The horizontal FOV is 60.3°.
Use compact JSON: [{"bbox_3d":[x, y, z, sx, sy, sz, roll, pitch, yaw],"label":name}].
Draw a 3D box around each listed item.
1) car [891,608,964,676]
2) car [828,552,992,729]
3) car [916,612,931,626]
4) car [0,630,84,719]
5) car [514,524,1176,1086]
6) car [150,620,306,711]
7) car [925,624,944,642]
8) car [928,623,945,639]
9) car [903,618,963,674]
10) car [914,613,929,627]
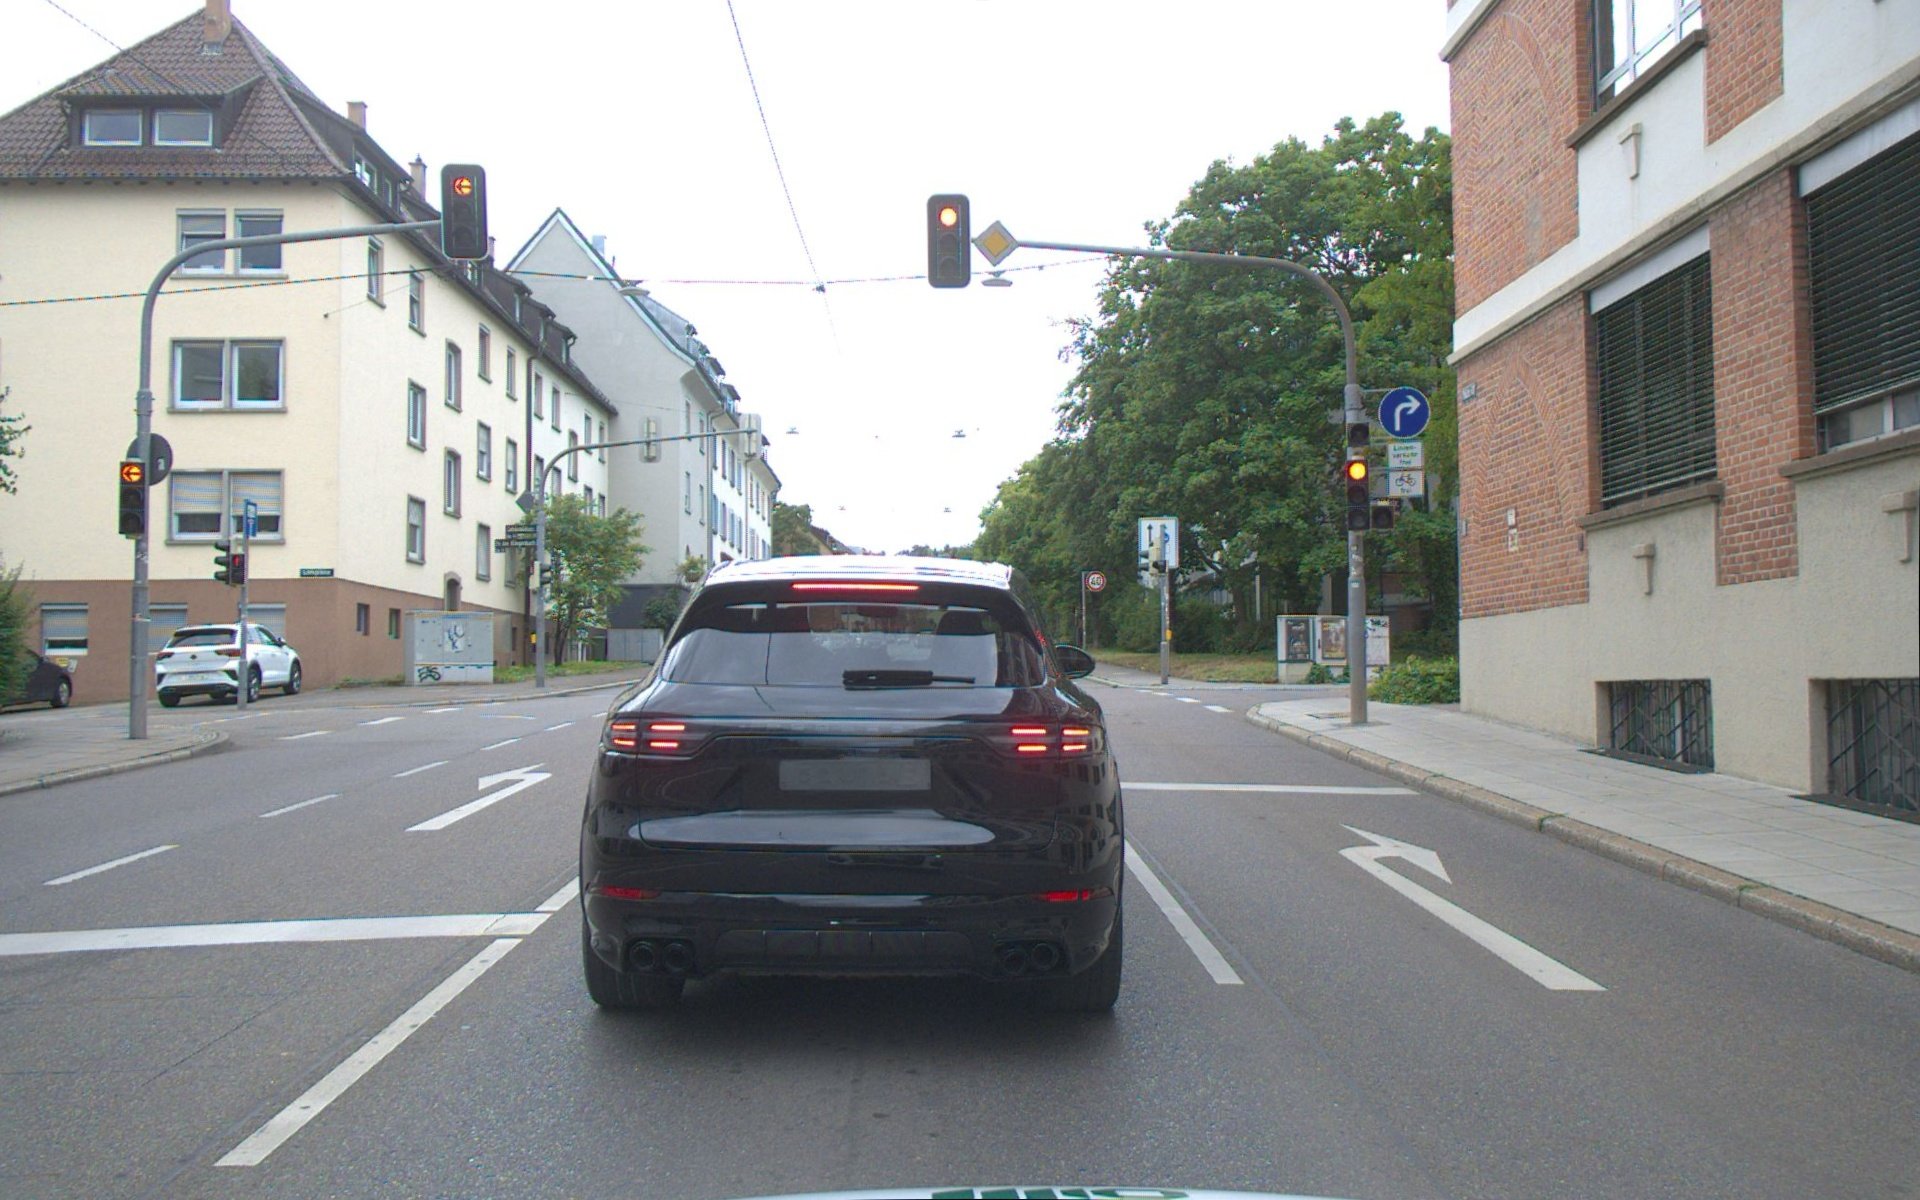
[{"bbox_3d":[-0.839,1.075,43.787,1.790,1.633,4.134,1,0,-1],"label":"car"},{"bbox_3d":[-0.620,0.480,21.875,1.925,2.078,4.134,1,0,-1],"label":"car"},{"bbox_3d":[-4.631,2.395,210.158,1.790,1.633,4.134,1,0,-1],"label":"car"},{"bbox_3d":[-19.630,1.521,33.754,1.658,1.636,3.762,-3,0,-5],"label":"car"},{"bbox_3d":[-0.370,0.627,7.229,2.007,1.695,4.266,1,0,-1],"label":"car"},{"bbox_3d":[-14.724,1.275,33.482,1.658,1.582,3.762,-3,0,-5],"label":"car"},{"bbox_3d":[-2.516,3.262,163.214,1.790,1.633,4.134,1,0,-1],"label":"car"},{"bbox_3d":[-2.587,3.425,182.387,1.790,1.633,4.134,1,0,-1],"label":"car"},{"bbox_3d":[-0.844,1.429,52.499,1.790,1.633,3.858,1,0,-1],"label":"car"},{"bbox_3d":[-4.704,2.446,202.830,1.790,1.633,4.134,1,0,-1],"label":"car"}]
